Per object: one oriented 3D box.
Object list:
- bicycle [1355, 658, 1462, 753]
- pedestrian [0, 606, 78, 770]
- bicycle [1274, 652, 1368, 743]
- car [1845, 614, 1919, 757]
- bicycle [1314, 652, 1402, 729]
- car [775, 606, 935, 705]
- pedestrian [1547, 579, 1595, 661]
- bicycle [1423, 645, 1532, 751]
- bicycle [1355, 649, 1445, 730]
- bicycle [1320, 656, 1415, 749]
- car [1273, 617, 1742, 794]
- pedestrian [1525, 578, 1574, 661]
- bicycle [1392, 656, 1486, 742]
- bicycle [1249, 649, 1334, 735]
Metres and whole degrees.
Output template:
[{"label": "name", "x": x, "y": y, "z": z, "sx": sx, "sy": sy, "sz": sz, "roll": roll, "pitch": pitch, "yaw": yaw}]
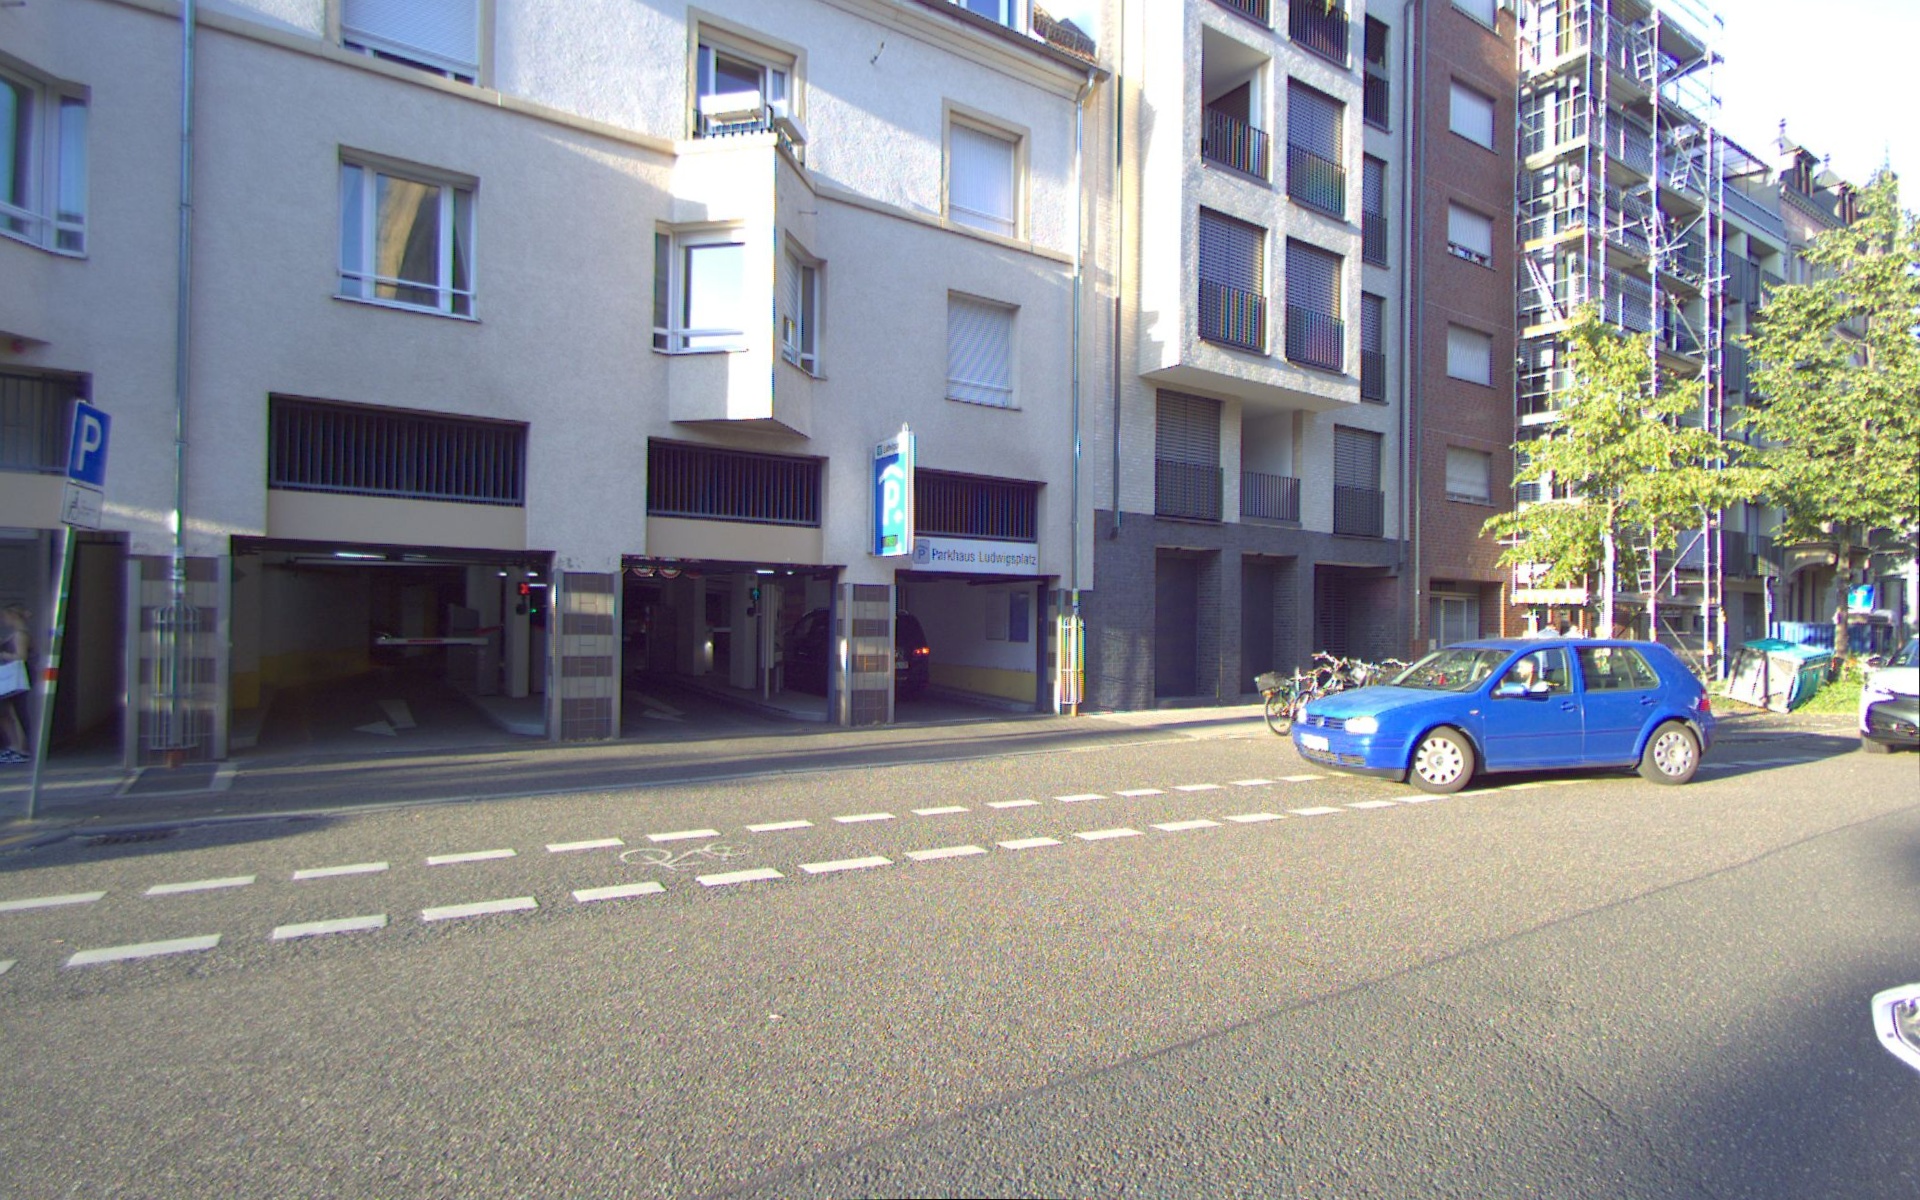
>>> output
[{"label": "bicycle", "x": 5.859, "y": 1.351, "z": 13.109, "sx": 1.532, "sy": 1.172, "sz": 0.415, "roll": 1, "pitch": -1, "yaw": -28}, {"label": "pedestrian", "x": -9.419, "y": 0.859, "z": 10.037, "sx": 0.525, "sy": 1.593, "sz": 0.776, "roll": 0, "pitch": -2, "yaw": 34}, {"label": "bicycle", "x": 5.118, "y": 1.352, "z": 14.205, "sx": 1.535, "sy": 1.205, "sz": 0.384, "roll": 2, "pitch": -1, "yaw": -33}, {"label": "car", "x": 13.395, "y": 1.081, "z": 13.227, "sx": 4.283, "sy": 1.719, "sz": 1.859, "roll": 2, "pitch": -4, "yaw": -38}, {"label": "bicycle", "x": 6.231, "y": 1.392, "z": 15.700, "sx": 1.535, "sy": 1.147, "sz": 0.454, "roll": 2, "pitch": -1, "yaw": -33}, {"label": "car", "x": -2.092, "y": 0.962, "z": 19.040, "sx": 1.543, "sy": 1.639, "sz": 3.849, "roll": 1, "pitch": -1, "yaw": -30}, {"label": "pedestrian", "x": 13.778, "y": 0.453, "z": 22.658, "sx": 0.650, "sy": 1.807, "sz": 0.737, "roll": 1, "pitch": -2, "yaw": -34}, {"label": "bicycle", "x": 6.427, "y": 1.180, "z": 12.450, "sx": 1.535, "sy": 1.237, "sz": 0.494, "roll": 2, "pitch": -1, "yaw": -33}, {"label": "bicycle", "x": 6.644, "y": 1.328, "z": 15.137, "sx": 1.535, "sy": 1.159, "sz": 0.464, "roll": 2, "pitch": -1, "yaw": -33}, {"label": "bicycle", "x": 5.509, "y": 1.359, "z": 13.552, "sx": 1.535, "sy": 1.175, "sz": 0.378, "roll": 2, "pitch": -1, "yaw": -33}, {"label": "car", "x": 5.472, "y": 1.006, "z": 10.244, "sx": 4.045, "sy": 1.583, "sz": 1.691, "roll": 1, "pitch": -2, "yaw": -11}, {"label": "pedestrian", "x": 13.135, "y": 0.447, "z": 22.395, "sx": 0.649, "sy": 1.807, "sz": 0.737, "roll": 1, "pitch": -2, "yaw": -32}, {"label": "bicycle", "x": 6.915, "y": 1.397, "z": 14.484, "sx": 1.535, "sy": 1.165, "sz": 0.484, "roll": 2, "pitch": -1, "yaw": -33}, {"label": "bicycle", "x": 4.855, "y": 1.316, "z": 14.675, "sx": 1.390, "sy": 1.199, "sz": 0.385, "roll": 2, "pitch": -1, "yaw": -33}]
